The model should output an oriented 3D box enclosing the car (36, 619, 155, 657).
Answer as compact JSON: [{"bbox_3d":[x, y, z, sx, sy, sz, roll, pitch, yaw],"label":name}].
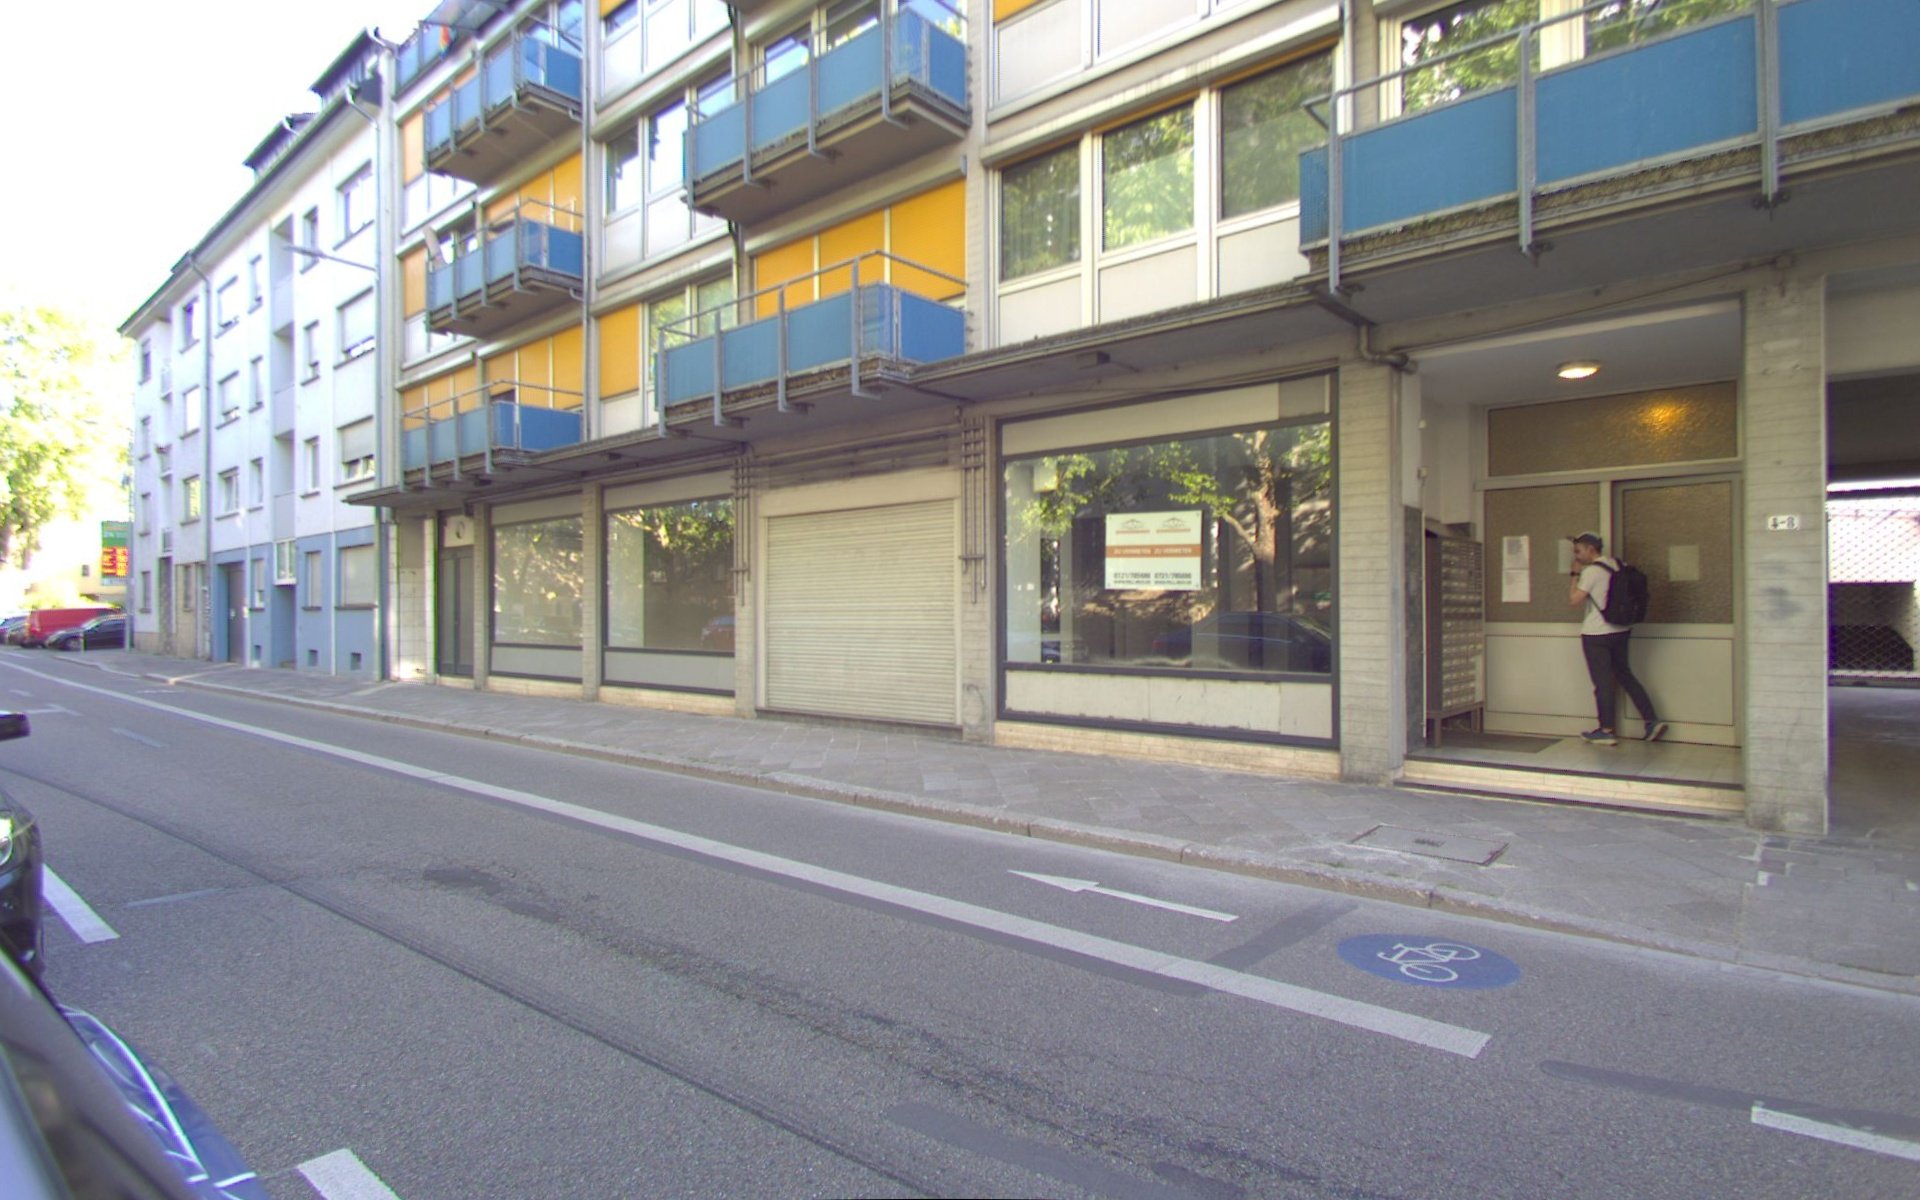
[{"bbox_3d":[-39.744,1.721,46.601,2.000,1.564,3.944,-1,0,42],"label":"car"}]

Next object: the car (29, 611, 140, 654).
[{"bbox_3d":[-43.417,1.569,50.247,2.000,1.962,3.944,-1,0,42],"label":"car"}]

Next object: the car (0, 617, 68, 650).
[{"bbox_3d":[-59.193,2.106,64.013,2.000,1.962,3.944,-1,0,42],"label":"car"}]

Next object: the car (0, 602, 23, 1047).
[{"bbox_3d":[-5.513,0.805,4.272,4.479,1.512,1.842,-1,-1,41],"label":"car"}]

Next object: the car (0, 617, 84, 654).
[{"bbox_3d":[-53.507,2.032,58.609,2.000,1.962,3.944,-1,0,42],"label":"car"}]

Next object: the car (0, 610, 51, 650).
[{"bbox_3d":[-62.784,1.953,66.782,2.000,2.538,3.944,-1,0,42],"label":"car"}]

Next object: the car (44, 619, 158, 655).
[{"bbox_3d":[-41.162,1.740,48.522,2.000,1.564,3.944,-1,0,42],"label":"car"}]

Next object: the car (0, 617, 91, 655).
[{"bbox_3d":[-51.557,2.007,56.826,2.000,1.962,3.944,-1,0,42],"label":"car"}]

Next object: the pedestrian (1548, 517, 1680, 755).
[{"bbox_3d":[5.437,0.292,8.454,0.781,1.894,0.578,-1,0,20],"label":"pedestrian"}]

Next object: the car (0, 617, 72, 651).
[{"bbox_3d":[-57.393,2.082,62.280,2.000,1.962,3.944,-1,0,42],"label":"car"}]

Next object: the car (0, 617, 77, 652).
[{"bbox_3d":[-55.588,2.059,60.562,2.000,1.962,3.944,-1,0,42],"label":"car"}]
